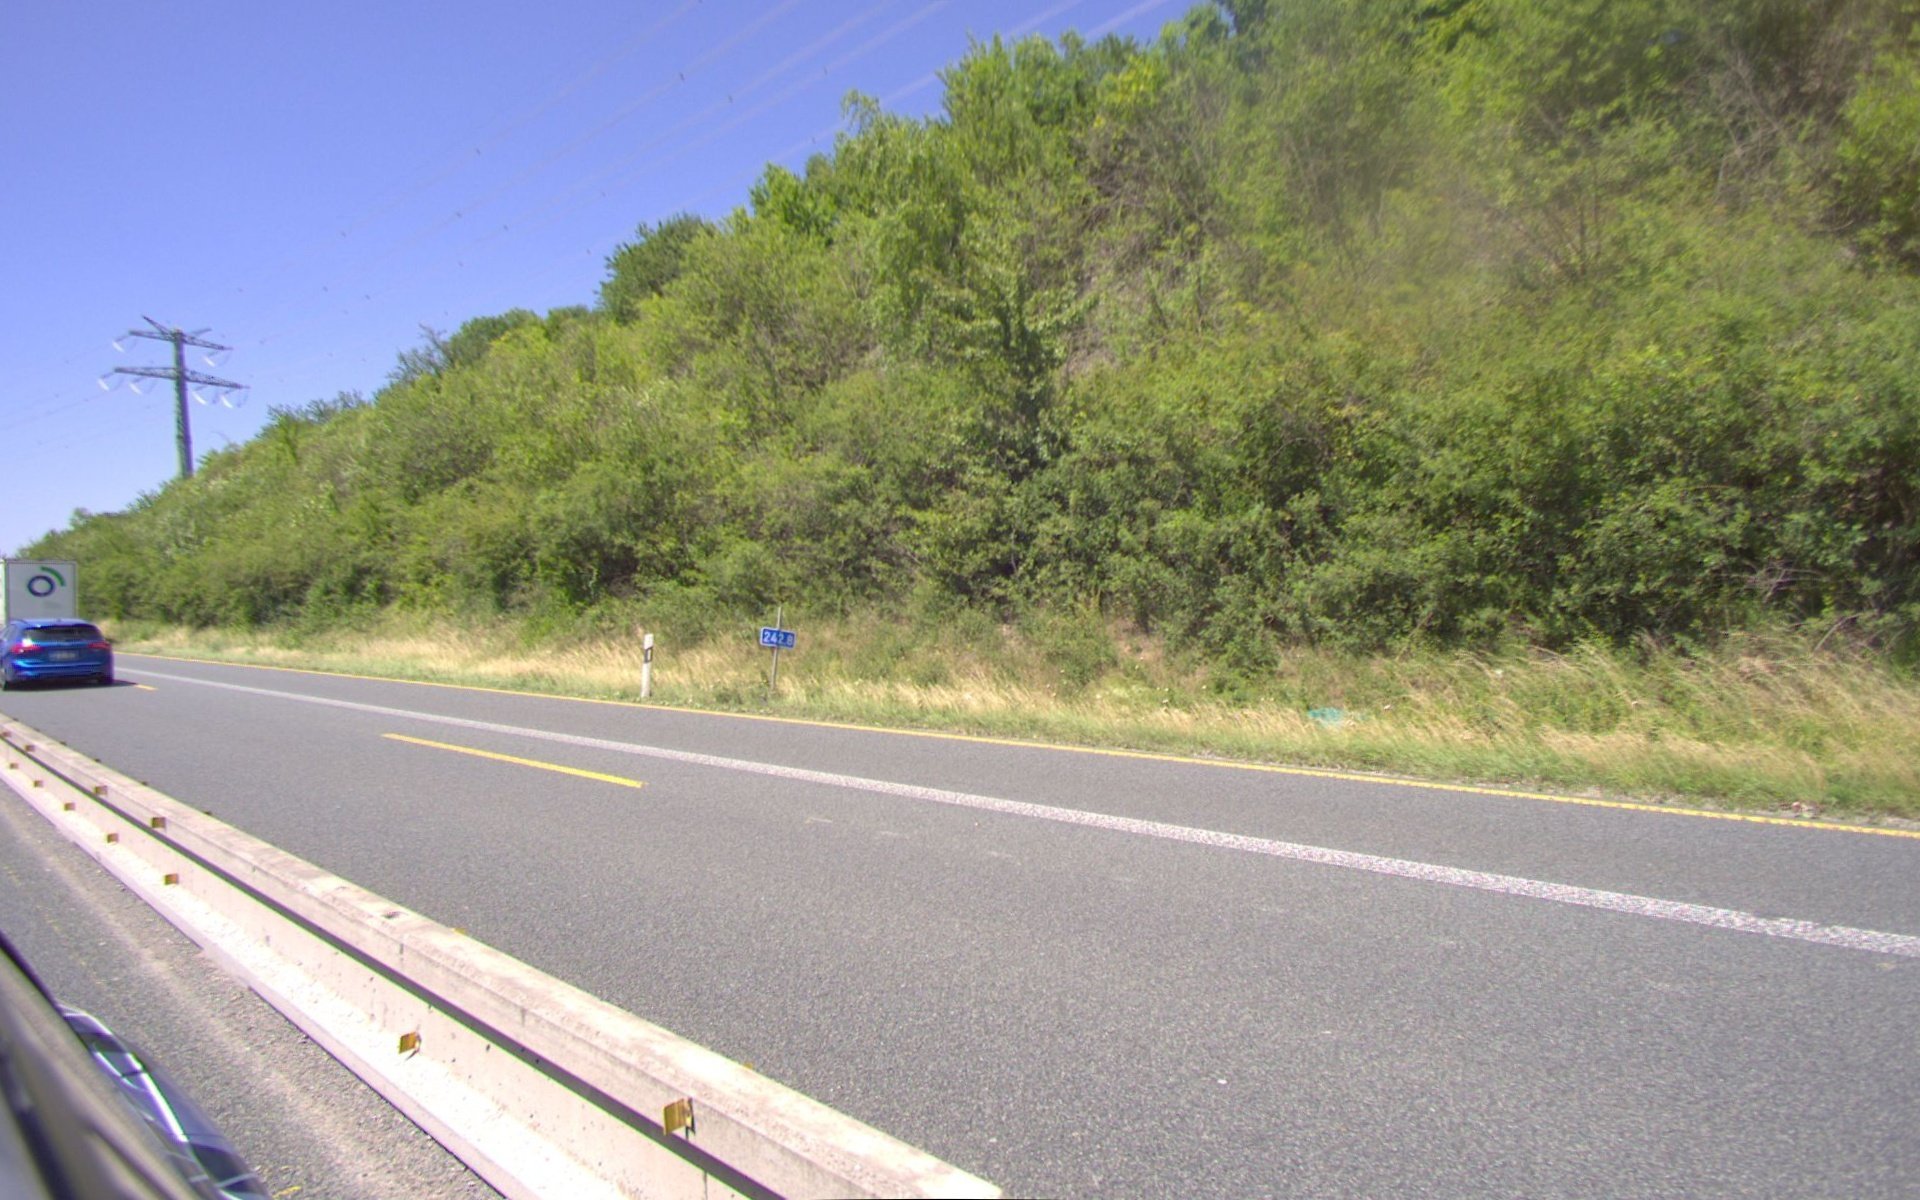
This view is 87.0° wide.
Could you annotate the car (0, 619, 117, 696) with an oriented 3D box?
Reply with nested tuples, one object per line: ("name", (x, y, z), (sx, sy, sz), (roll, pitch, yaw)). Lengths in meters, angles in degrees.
("car", (-19.659, 1.155, 21.716), (4.167, 1.436, 1.695), (-1, 0, 40))

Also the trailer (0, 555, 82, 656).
("trailer", (-43.629, 0.265, 47.298), (8.442, 4.345, 2.611), (-1, 0, 41))

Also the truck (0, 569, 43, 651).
("truck", (-50.847, 0.596, 53.347), (10.345, 4.022, 2.385), (-1, 0, 41))
